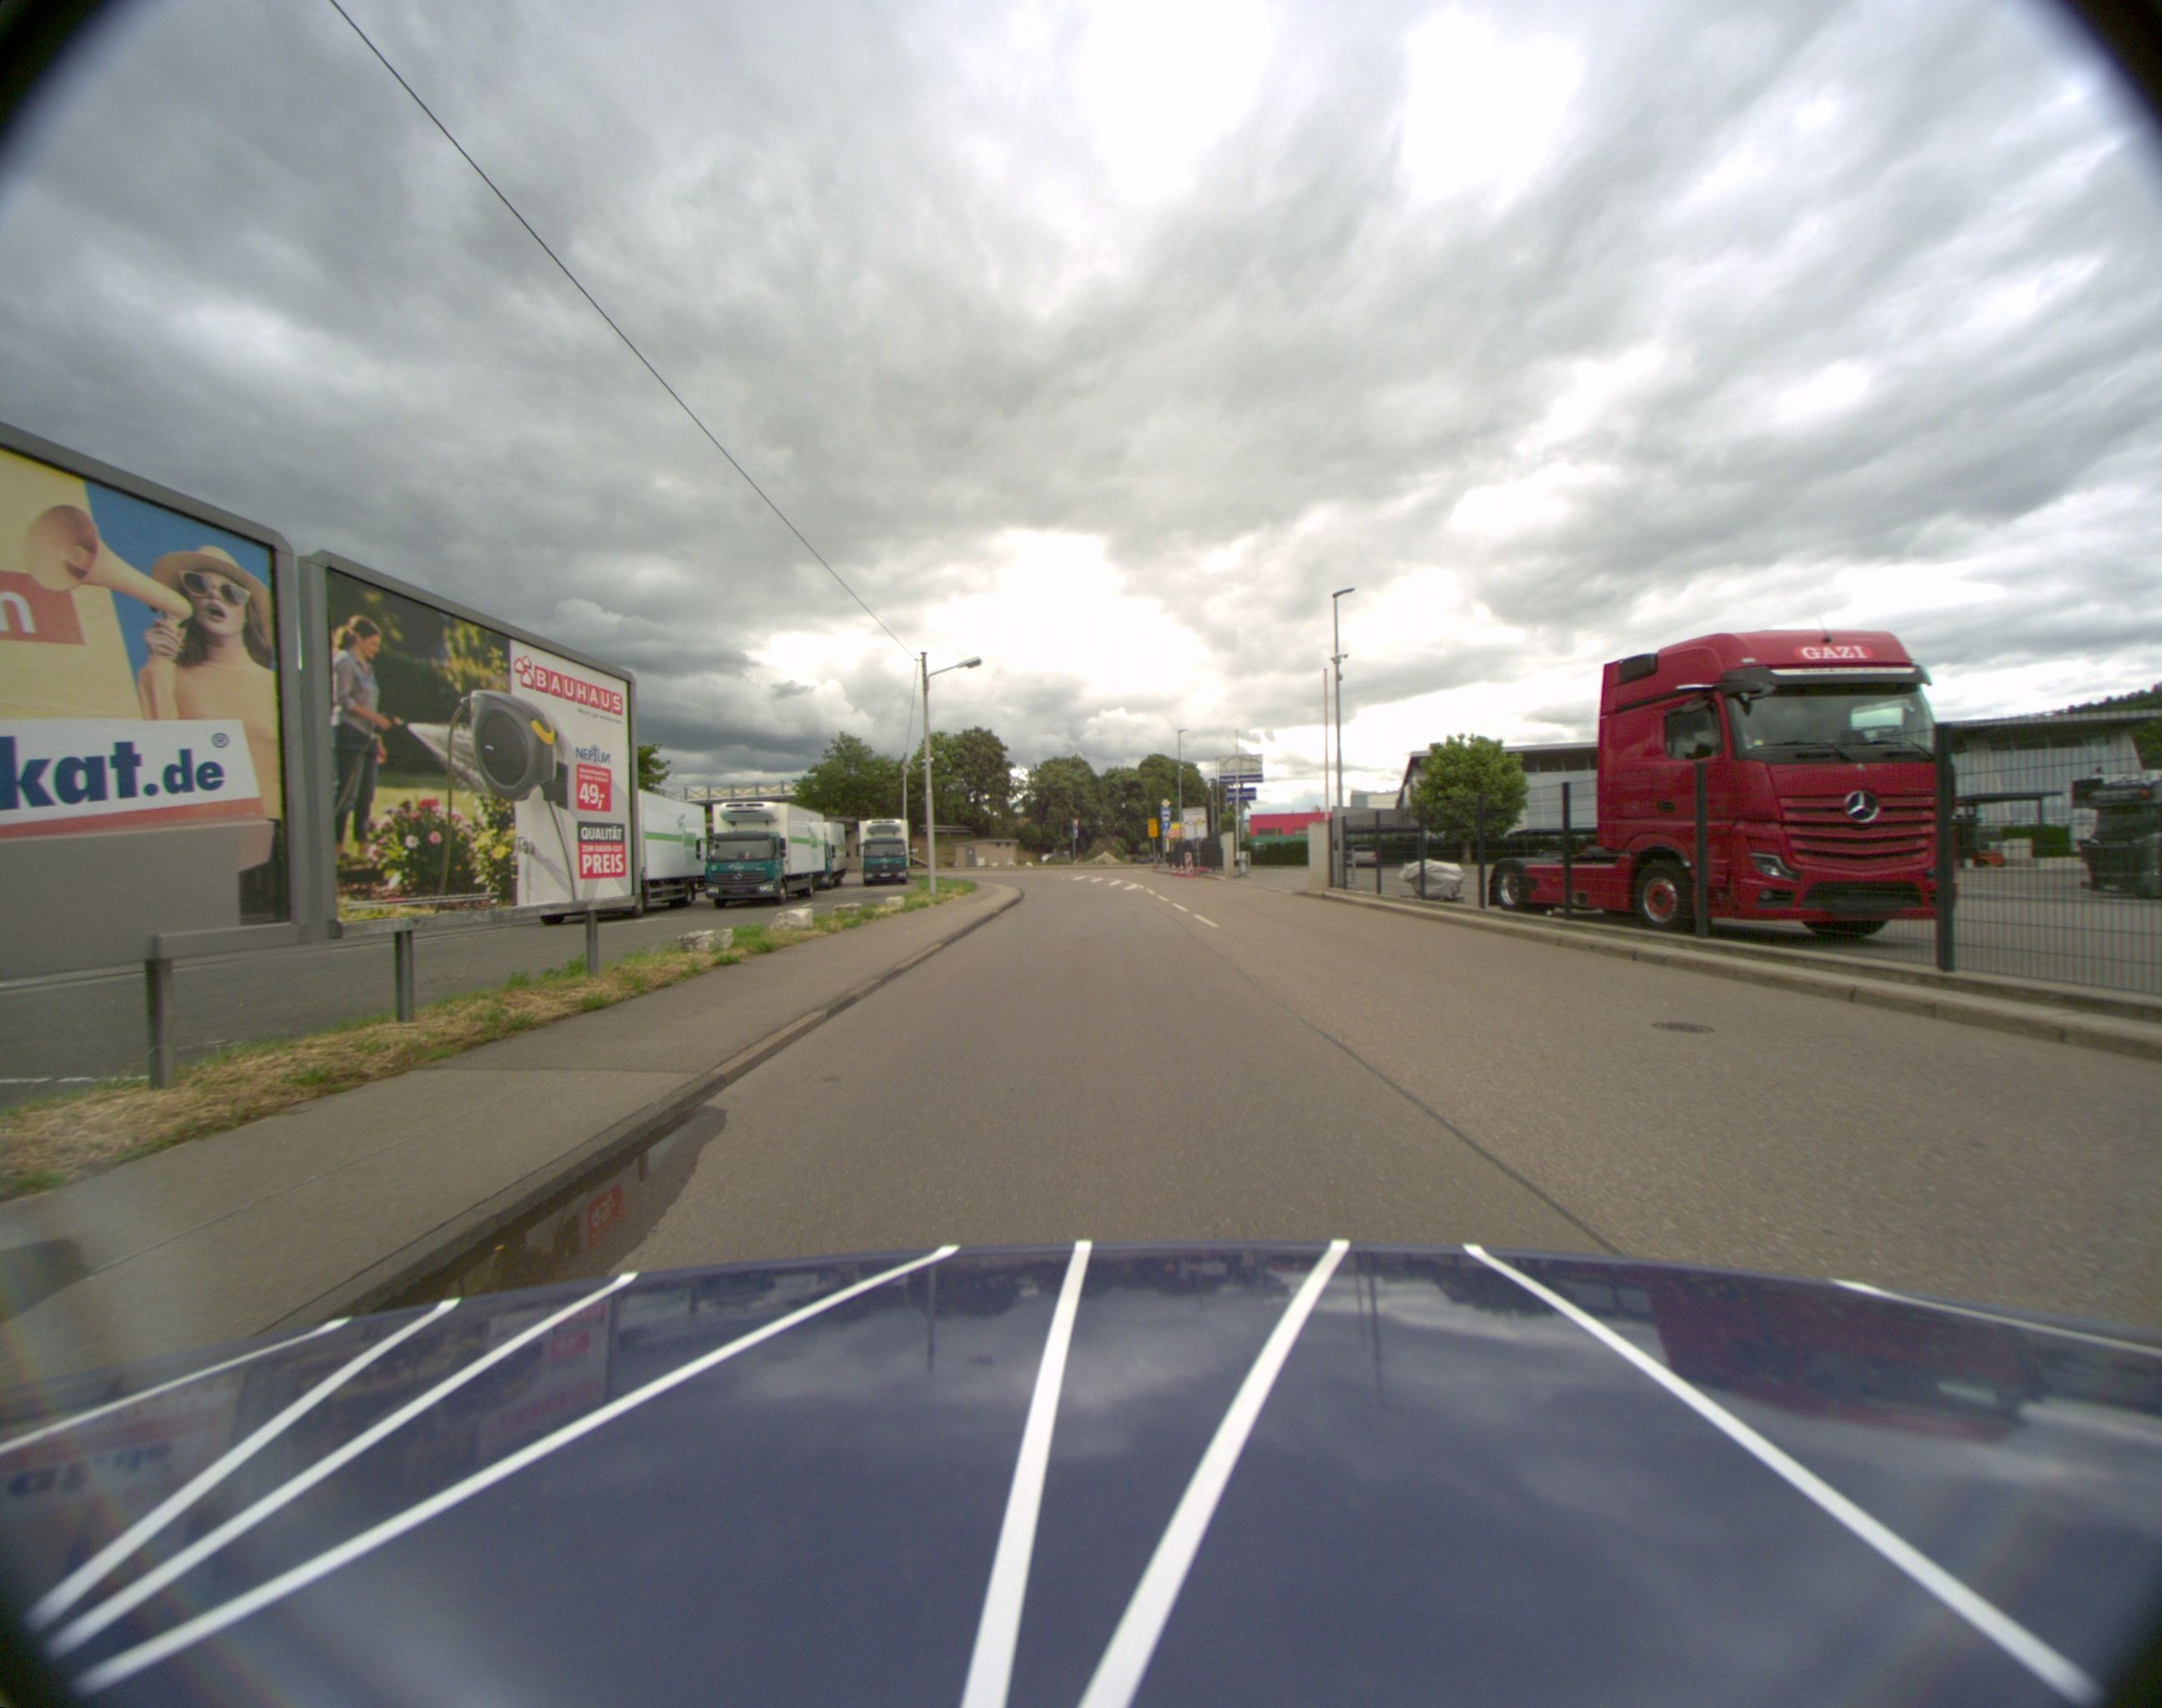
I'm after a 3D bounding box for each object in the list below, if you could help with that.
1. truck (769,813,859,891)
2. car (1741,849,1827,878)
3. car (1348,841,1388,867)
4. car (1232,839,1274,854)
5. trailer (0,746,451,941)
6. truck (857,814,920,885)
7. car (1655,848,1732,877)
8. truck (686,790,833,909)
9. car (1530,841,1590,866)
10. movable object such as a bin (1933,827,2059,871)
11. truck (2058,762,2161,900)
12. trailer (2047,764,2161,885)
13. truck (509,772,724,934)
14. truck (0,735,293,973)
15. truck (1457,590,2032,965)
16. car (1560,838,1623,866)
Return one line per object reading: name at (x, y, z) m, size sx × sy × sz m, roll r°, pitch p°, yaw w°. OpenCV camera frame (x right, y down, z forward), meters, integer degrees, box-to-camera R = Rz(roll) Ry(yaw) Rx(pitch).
truck at (-14.333, -0.134, 41.548) m, size 3.073 × 3.611 × 8.595 m, roll -4°, pitch 1°, yaw -11°
car at (40.951, 0.510, 44.394) m, size 1.964 × 1.550 × 4.252 m, roll -1°, pitch 1°, yaw 15°
car at (19.087, -0.026, 50.613) m, size 2.070 × 1.660 × 4.252 m, roll -1°, pitch 1°, yaw 15°
car at (18.051, -0.780, 79.855) m, size 3.996 × 1.526 × 2.000 m, roll -1°, pitch 1°, yaw 4°
trailer at (-23.013, -0.126, 21.968) m, size 3.067 × 3.953 × 13.081 m, roll 1°, pitch -1°, yaw -20°
truck at (-11.111, -0.271, 44.271) m, size 3.074 × 3.610 × 8.594 m, roll -2°, pitch 1°, yaw -13°
car at (35.703, 0.459, 44.446) m, size 1.964 × 1.550 × 4.252 m, roll -1°, pitch 1°, yaw 15°
truck at (-12.326, -0.124, 30.385) m, size 2.989 × 3.808 × 10.425 m, roll -3°, pitch 0°, yaw -10°
car at (29.397, -0.056, 46.814) m, size 1.964 × 1.483 × 4.252 m, roll -1°, pitch 0°, yaw 15°
movable object such as a bin at (49.202, -0.268, 41.026) m, size 2.077 × 2.213 × 4.605 m, roll -1°, pitch 1°, yaw 15°
truck at (33.457, -0.695, 22.822) m, size 4.155 × 4.017 × 2.806 m, roll -1°, pitch 1°, yaw 21°
trailer at (41.306, -1.078, 25.260) m, size 11.384 × 4.054 × 3.095 m, roll -1°, pitch 1°, yaw 20°
truck at (-15.337, -0.103, 26.382) m, size 2.989 × 4.408 × 10.545 m, roll -3°, pitch 1°, yaw -13°
truck at (-20.712, -0.032, 15.565) m, size 3.076 × 3.978 × 8.022 m, roll 1°, pitch 0°, yaw -20°
truck at (8.904, -0.843, 11.713) m, size 2.929 × 3.997 × 6.941 m, roll -1°, pitch 1°, yaw 2°
car at (31.647, -0.144, 47.245) m, size 1.964 × 1.638 × 4.252 m, roll -1°, pitch 1°, yaw 15°
